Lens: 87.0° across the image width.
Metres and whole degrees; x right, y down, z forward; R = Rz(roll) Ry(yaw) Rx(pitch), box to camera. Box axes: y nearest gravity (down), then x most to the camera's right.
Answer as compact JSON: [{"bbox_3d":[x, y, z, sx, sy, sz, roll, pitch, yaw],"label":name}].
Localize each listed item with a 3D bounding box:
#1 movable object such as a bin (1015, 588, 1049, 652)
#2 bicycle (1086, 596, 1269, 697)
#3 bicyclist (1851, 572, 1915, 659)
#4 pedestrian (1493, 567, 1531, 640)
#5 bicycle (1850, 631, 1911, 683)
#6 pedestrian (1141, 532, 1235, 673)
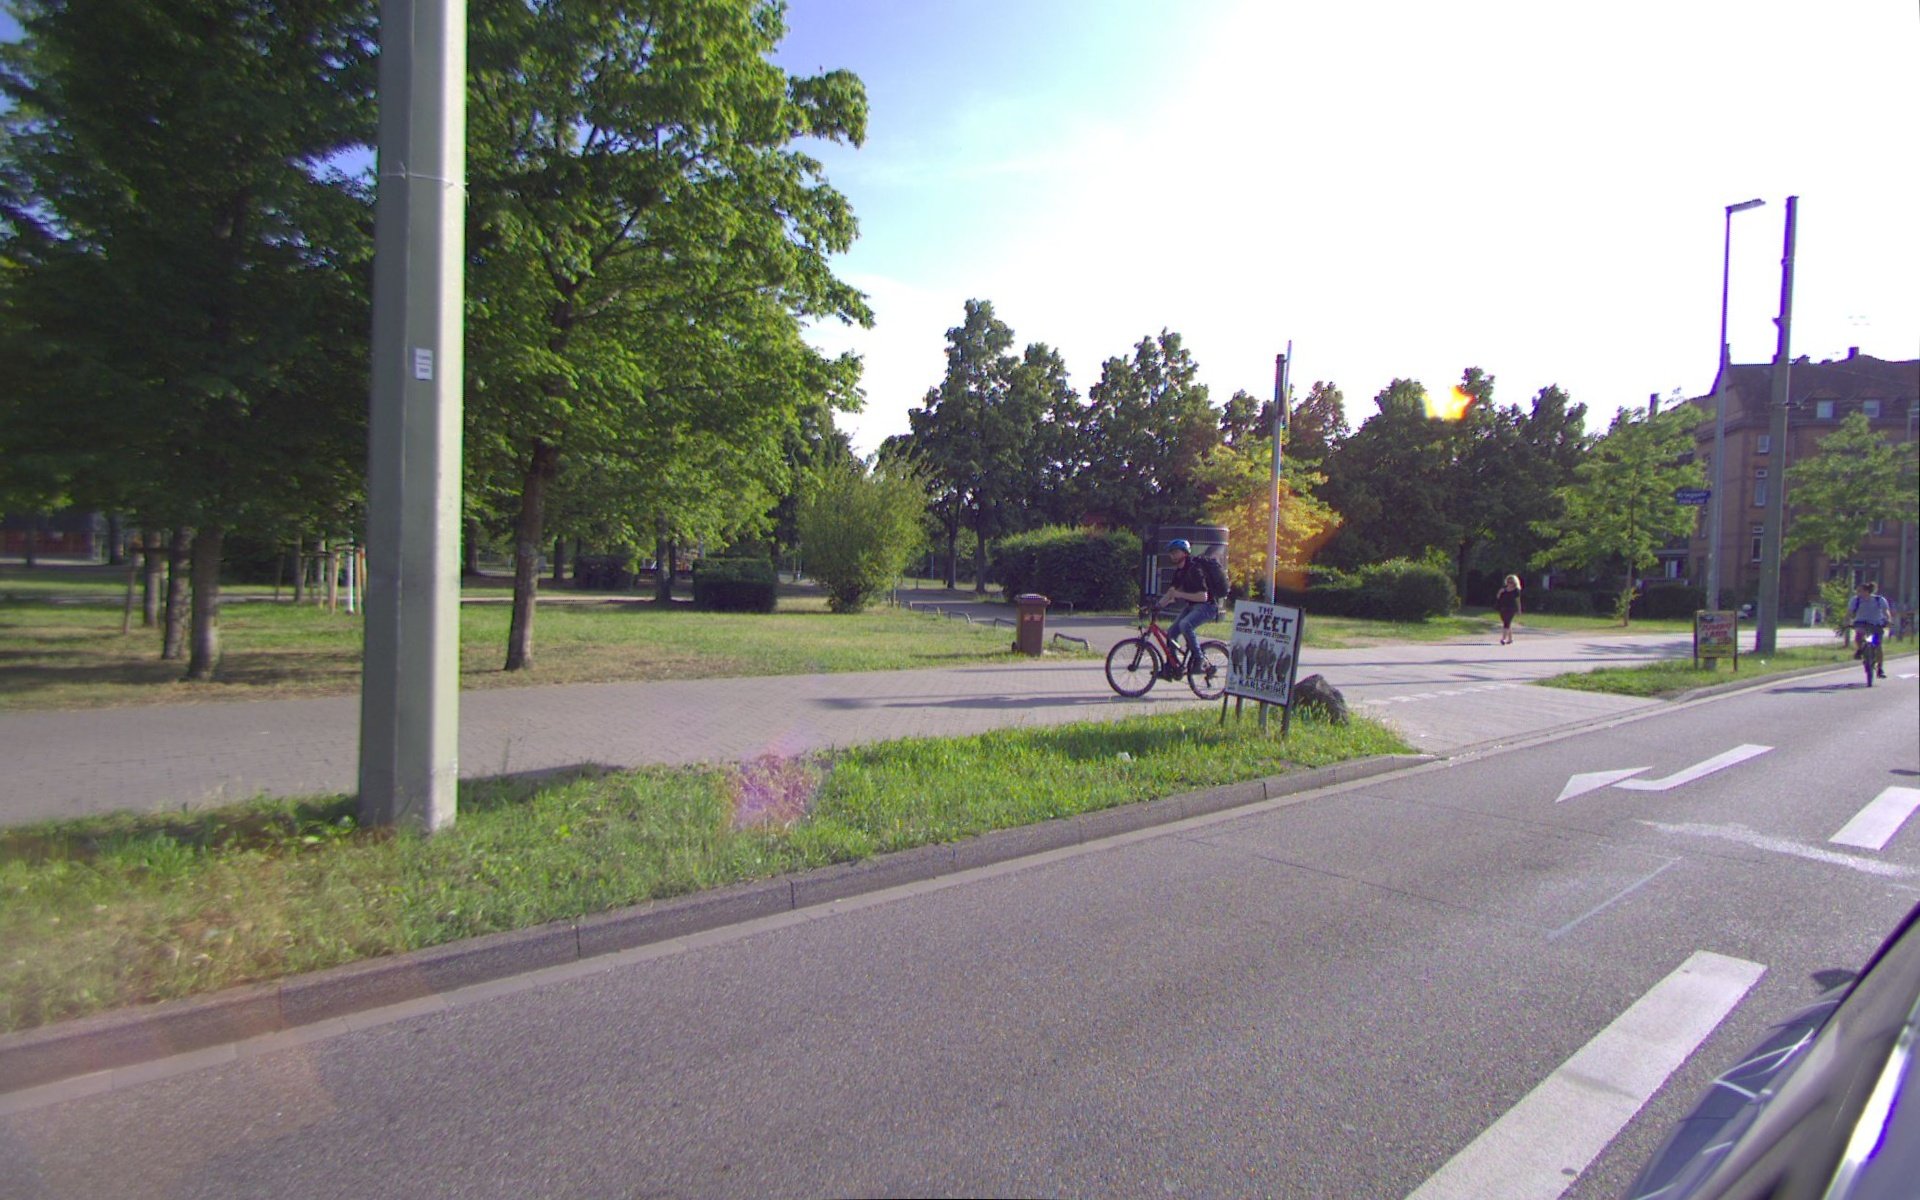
[{"bbox_3d":[1.097,0.303,15.436,0.447,0.929,0.605,2,2,1],"label":"movable object such as a bin"},{"bbox_3d":[2.443,0.493,11.361,1.939,1.059,0.653,0,0,-18],"label":"bicycle"},{"bbox_3d":[16.362,0.264,17.940,1.092,1.472,0.688,0,2,-42],"label":"bicyclist"},{"bbox_3d":[13.101,0.078,24.014,0.607,1.706,0.621,1,0,-40],"label":"pedestrian"},{"bbox_3d":[16.291,0.988,17.893,2.006,0.803,0.567,0,2,-42],"label":"bicycle"},{"bbox_3d":[2.570,0.019,11.458,0.827,1.540,0.639,0,0,-18],"label":"pedestrian"}]
